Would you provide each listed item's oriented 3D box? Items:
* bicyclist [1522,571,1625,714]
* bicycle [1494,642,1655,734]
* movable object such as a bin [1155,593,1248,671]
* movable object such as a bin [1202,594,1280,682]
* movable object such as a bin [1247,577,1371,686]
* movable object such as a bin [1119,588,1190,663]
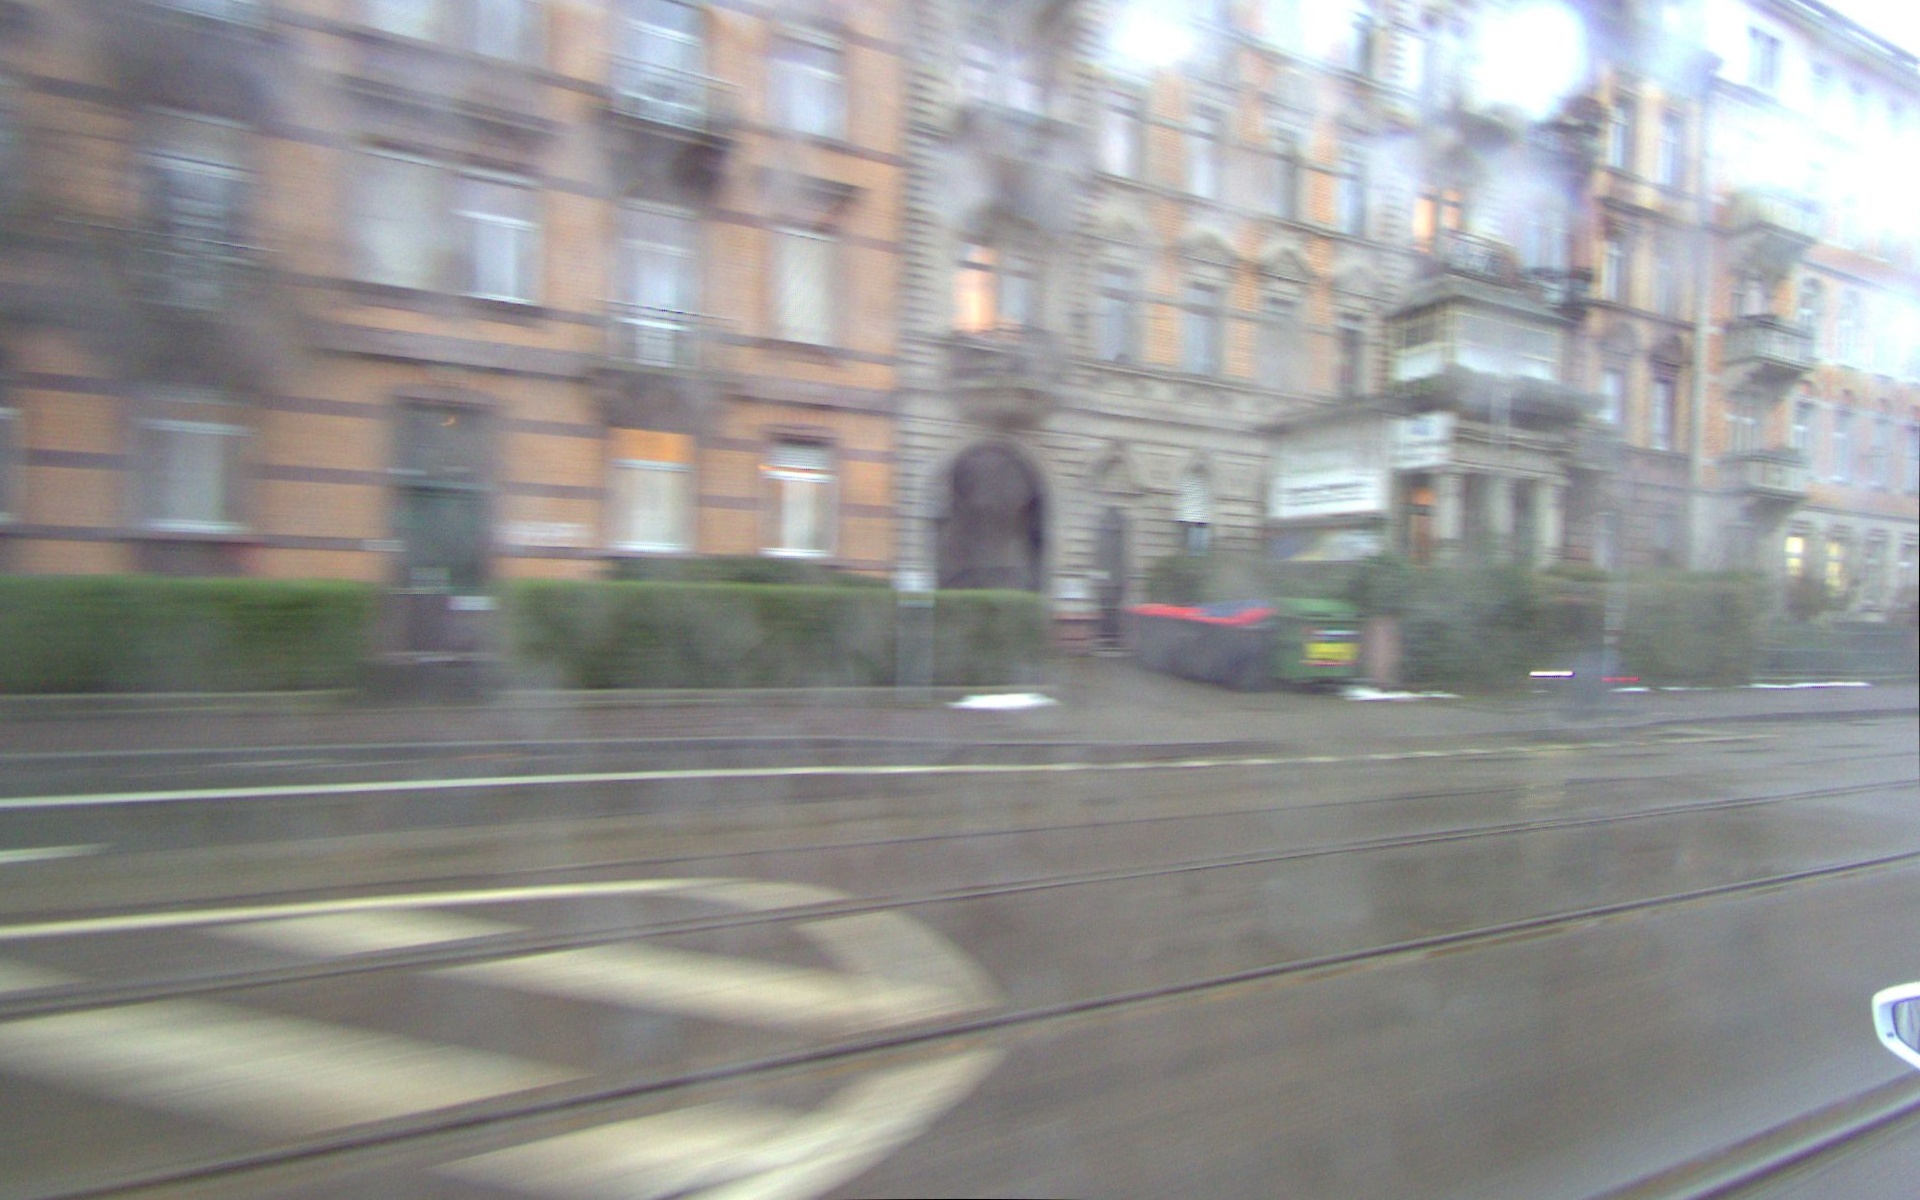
[{"bbox_3d":[7.320,0.490,11.999,0.755,1.638,0.681,2,1,-25],"label":"bicyclist"},{"bbox_3d":[7.369,1.032,12.031,1.907,0.985,0.676,2,1,-25],"label":"bicycle"},{"bbox_3d":[4.056,0.516,16.914,0.934,1.224,1.180,1,2,-28],"label":"movable object such as a bin"},{"bbox_3d":[4.444,0.591,15.897,0.737,1.309,0.891,1,2,-28],"label":"movable object such as a bin"},{"bbox_3d":[5.490,0.476,15.853,1.288,1.607,1.242,2,2,-21],"label":"movable object such as a bin"},{"bbox_3d":[3.472,0.449,17.987,0.764,1.261,1.005,1,2,-28],"label":"movable object such as a bin"}]
